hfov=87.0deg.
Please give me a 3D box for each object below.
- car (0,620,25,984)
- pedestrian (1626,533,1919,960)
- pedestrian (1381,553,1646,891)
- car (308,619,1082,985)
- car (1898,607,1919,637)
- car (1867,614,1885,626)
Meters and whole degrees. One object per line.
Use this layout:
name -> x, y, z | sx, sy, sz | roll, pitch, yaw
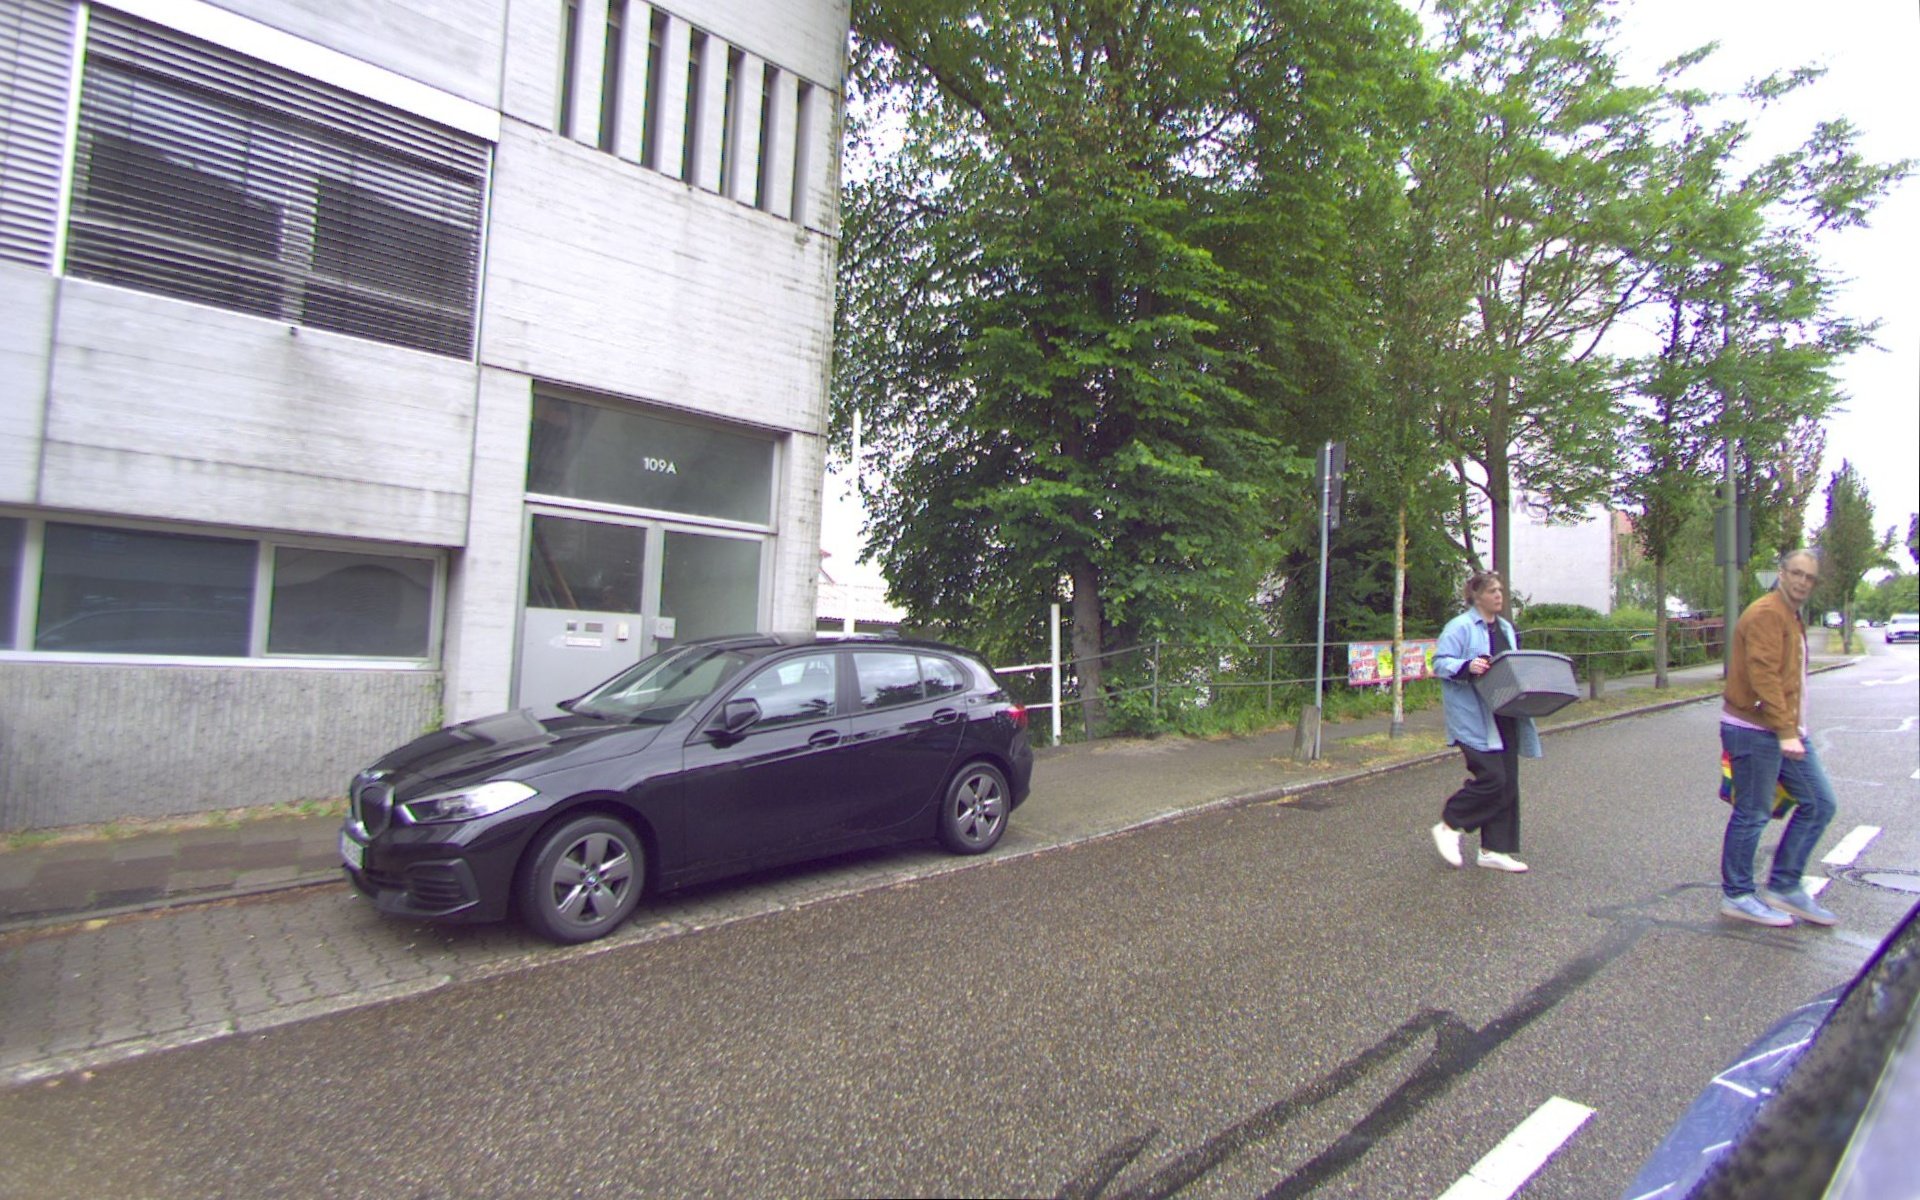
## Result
car -> -5.441, 0.833, 2.696 | 4.173, 1.466, 1.753 | 0, 0, -38
pedestrian -> 4.058, 0.608, 4.929 | 0.807, 1.804, 1.075 | 0, 1, -24
pedestrian -> 3.267, 0.661, 6.077 | 0.807, 1.805, 1.075 | -1, -2, -17
car -> -1.400, 0.879, 6.440 | 4.368, 1.453, 1.996 | 0, -1, -43
car -> 57.406, 1.299, 60.388 | 4.279, 1.638, 1.831 | -1, 0, -44
car -> 140.959, 3.062, 155.647 | 1.888, 1.741, 4.170 | 2, 2, 44
